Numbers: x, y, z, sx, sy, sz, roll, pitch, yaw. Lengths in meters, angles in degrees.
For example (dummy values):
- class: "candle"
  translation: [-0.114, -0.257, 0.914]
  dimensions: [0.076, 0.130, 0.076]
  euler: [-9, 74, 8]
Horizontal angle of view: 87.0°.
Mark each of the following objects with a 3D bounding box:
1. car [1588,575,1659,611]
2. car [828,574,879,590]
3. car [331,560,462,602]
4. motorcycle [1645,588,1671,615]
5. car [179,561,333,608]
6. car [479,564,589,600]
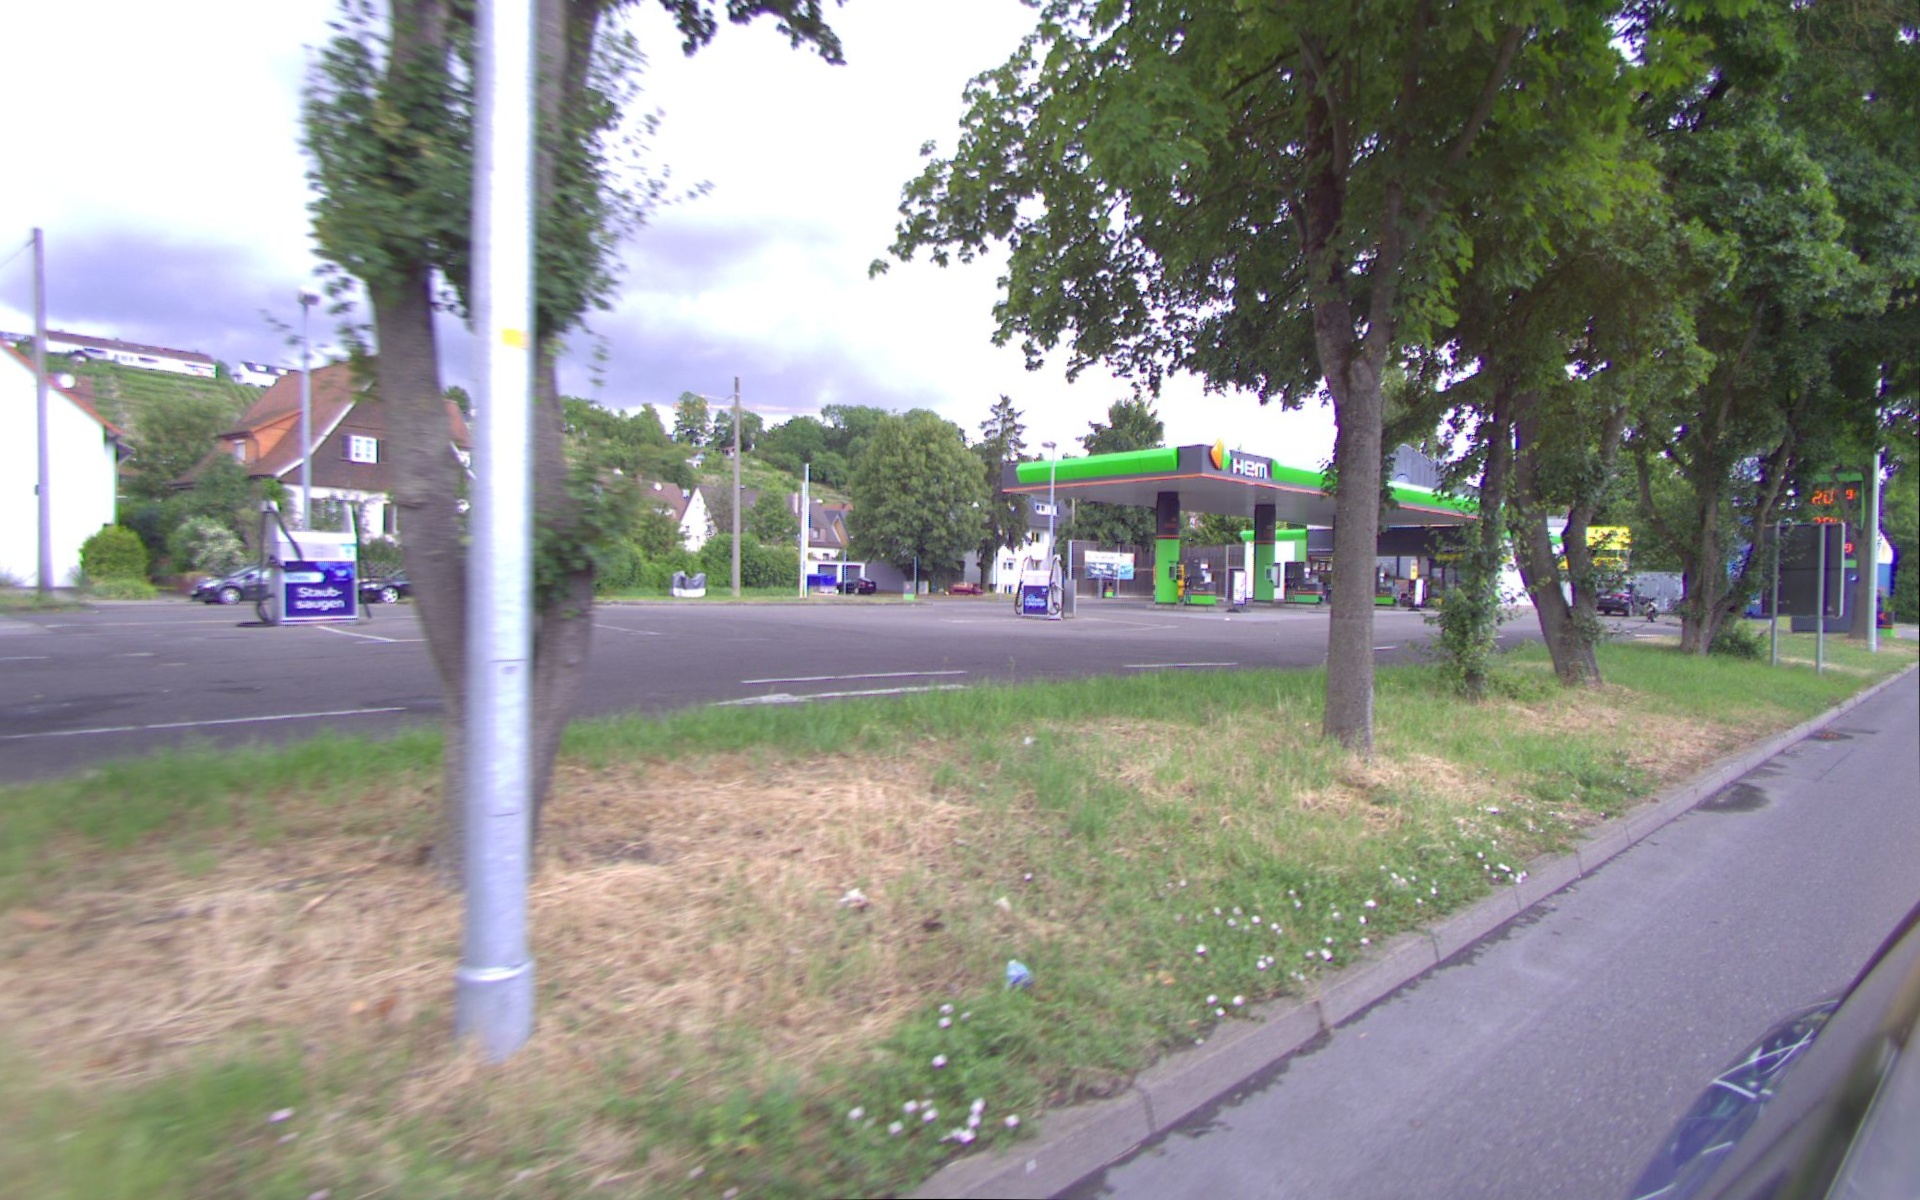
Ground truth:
- class: "car"
  translation: [34.010, -0.347, 51.810]
  dimensions: [4.253, 1.658, 1.997]
  euler: [0, 4, -43]
- class: "car"
  translation: [-8.535, -1.443, 80.907]
  dimensions: [3.986, 1.234, 1.815]
  euler: [3, 2, 43]
- class: "car"
  translation: [-21.465, -0.673, 38.649]
  dimensions: [1.986, 1.483, 3.950]
  euler: [-1, -1, 35]
- class: "motorcycle"
  translation: [31.717, 0.056, 45.978]
  dimensions: [0.702, 1.201, 2.353]
  euler: [2, 1, 40]
- class: "car"
  translation: [-24.141, -0.506, 34.824]
  dimensions: [1.986, 1.483, 3.950]
  euler: [-1, -1, 35]
- class: "car"
  translation: [-18.336, -0.737, 43.718]
  dimensions: [1.986, 1.483, 3.950]
  euler: [-1, -1, 35]
